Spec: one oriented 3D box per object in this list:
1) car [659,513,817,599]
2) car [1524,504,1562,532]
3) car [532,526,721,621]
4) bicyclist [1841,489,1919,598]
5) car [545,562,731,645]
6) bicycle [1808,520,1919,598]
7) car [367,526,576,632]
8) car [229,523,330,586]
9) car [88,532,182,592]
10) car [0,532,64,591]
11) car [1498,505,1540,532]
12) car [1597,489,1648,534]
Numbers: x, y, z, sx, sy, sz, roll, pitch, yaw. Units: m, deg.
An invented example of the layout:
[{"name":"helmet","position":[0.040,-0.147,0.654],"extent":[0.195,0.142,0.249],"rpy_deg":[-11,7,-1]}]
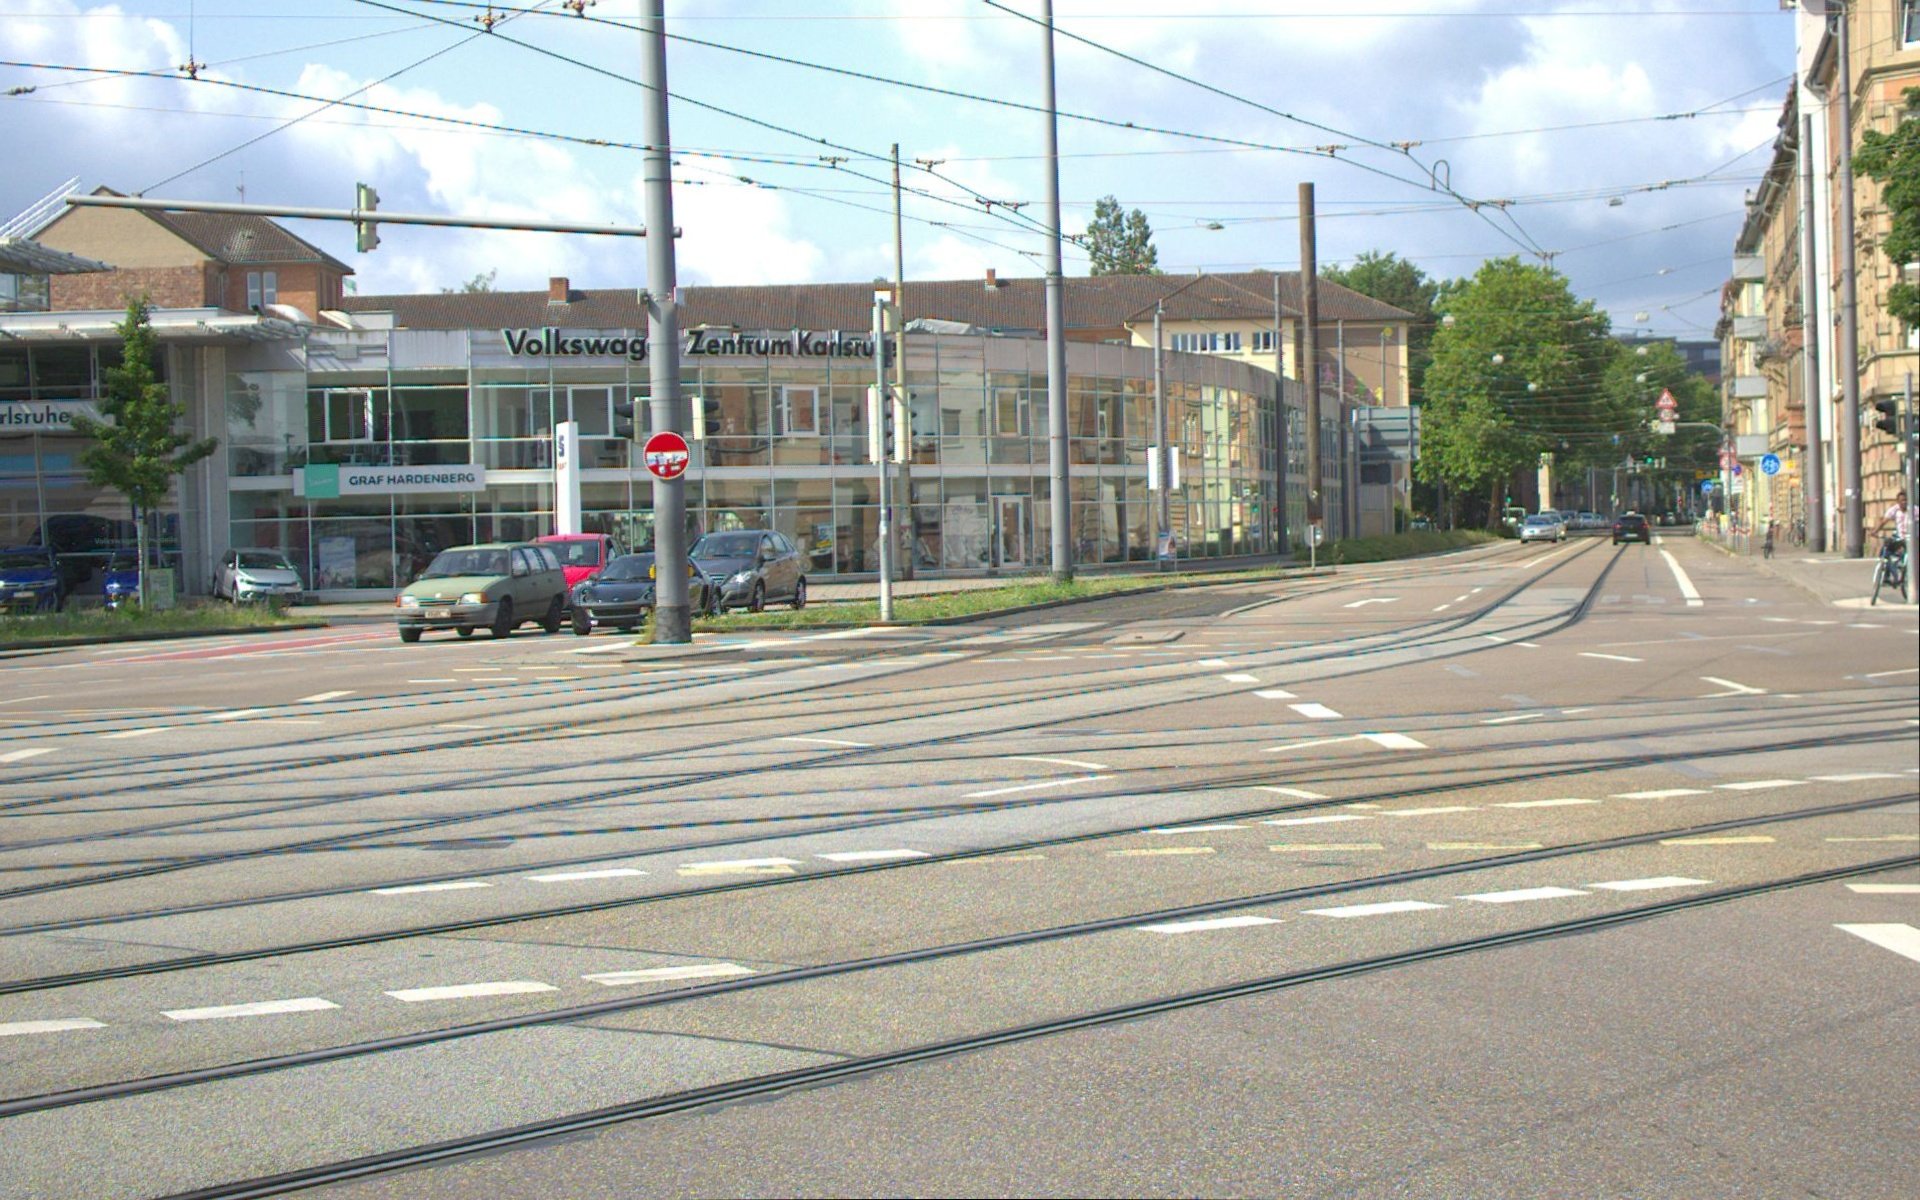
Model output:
[{"name":"car","position":[-4.201,-0.862,65.693],"extent":[1.994,1.546,3.998],"rpy_deg":[-1,1,12]},{"name":"car","position":[32.438,-4.552,191.295],"extent":[1.994,1.486,3.999],"rpy_deg":[0,1,9]},{"name":"car","position":[-5.568,-0.451,57.896],"extent":[1.995,1.514,3.998],"rpy_deg":[1,1,12]},{"name":"bicyclist","position":[14.243,-0.879,52.997],"extent":[1.194,1.652,0.785],"rpy_deg":[-2,2,-44]},{"name":"car","position":[-4.785,0.039,51.640],"extent":[1.622,1.157,3.998],"rpy_deg":[1,1,12]},{"name":"bicycle","position":[14.180,-0.642,52.951],"extent":[2.673,1.166,0.900],"rpy_deg":[-2,2,-44]},{"name":"car","position":[-7.326,-0.321,51.968],"extent":[1.821,1.508,3.998],"rpy_deg":[1,1,12]},{"name":"car","position":[-17.698,-1.206,89.511],"extent":[1.919,1.546,4.001],"rpy_deg":[-1,1,-2]},{"name":"car","position":[-20.972,-0.990,87.543],"extent":[1.919,1.440,4.001],"rpy_deg":[-1,1,-8]},{"name":"car","position":[-23.913,-0.982,87.638],"extent":[1.919,1.440,4.001],"rpy_deg":[-2,1,-13]},{"name":"car","position":[28.938,-4.210,178.062],"extent":[1.994,1.327,3.999],"rpy_deg":[-1,1,7]},{"name":"car","position":[30.776,-4.129,159.621],"extent":[1.995,2.007,3.998],"rpy_deg":[-1,1,15]}]
